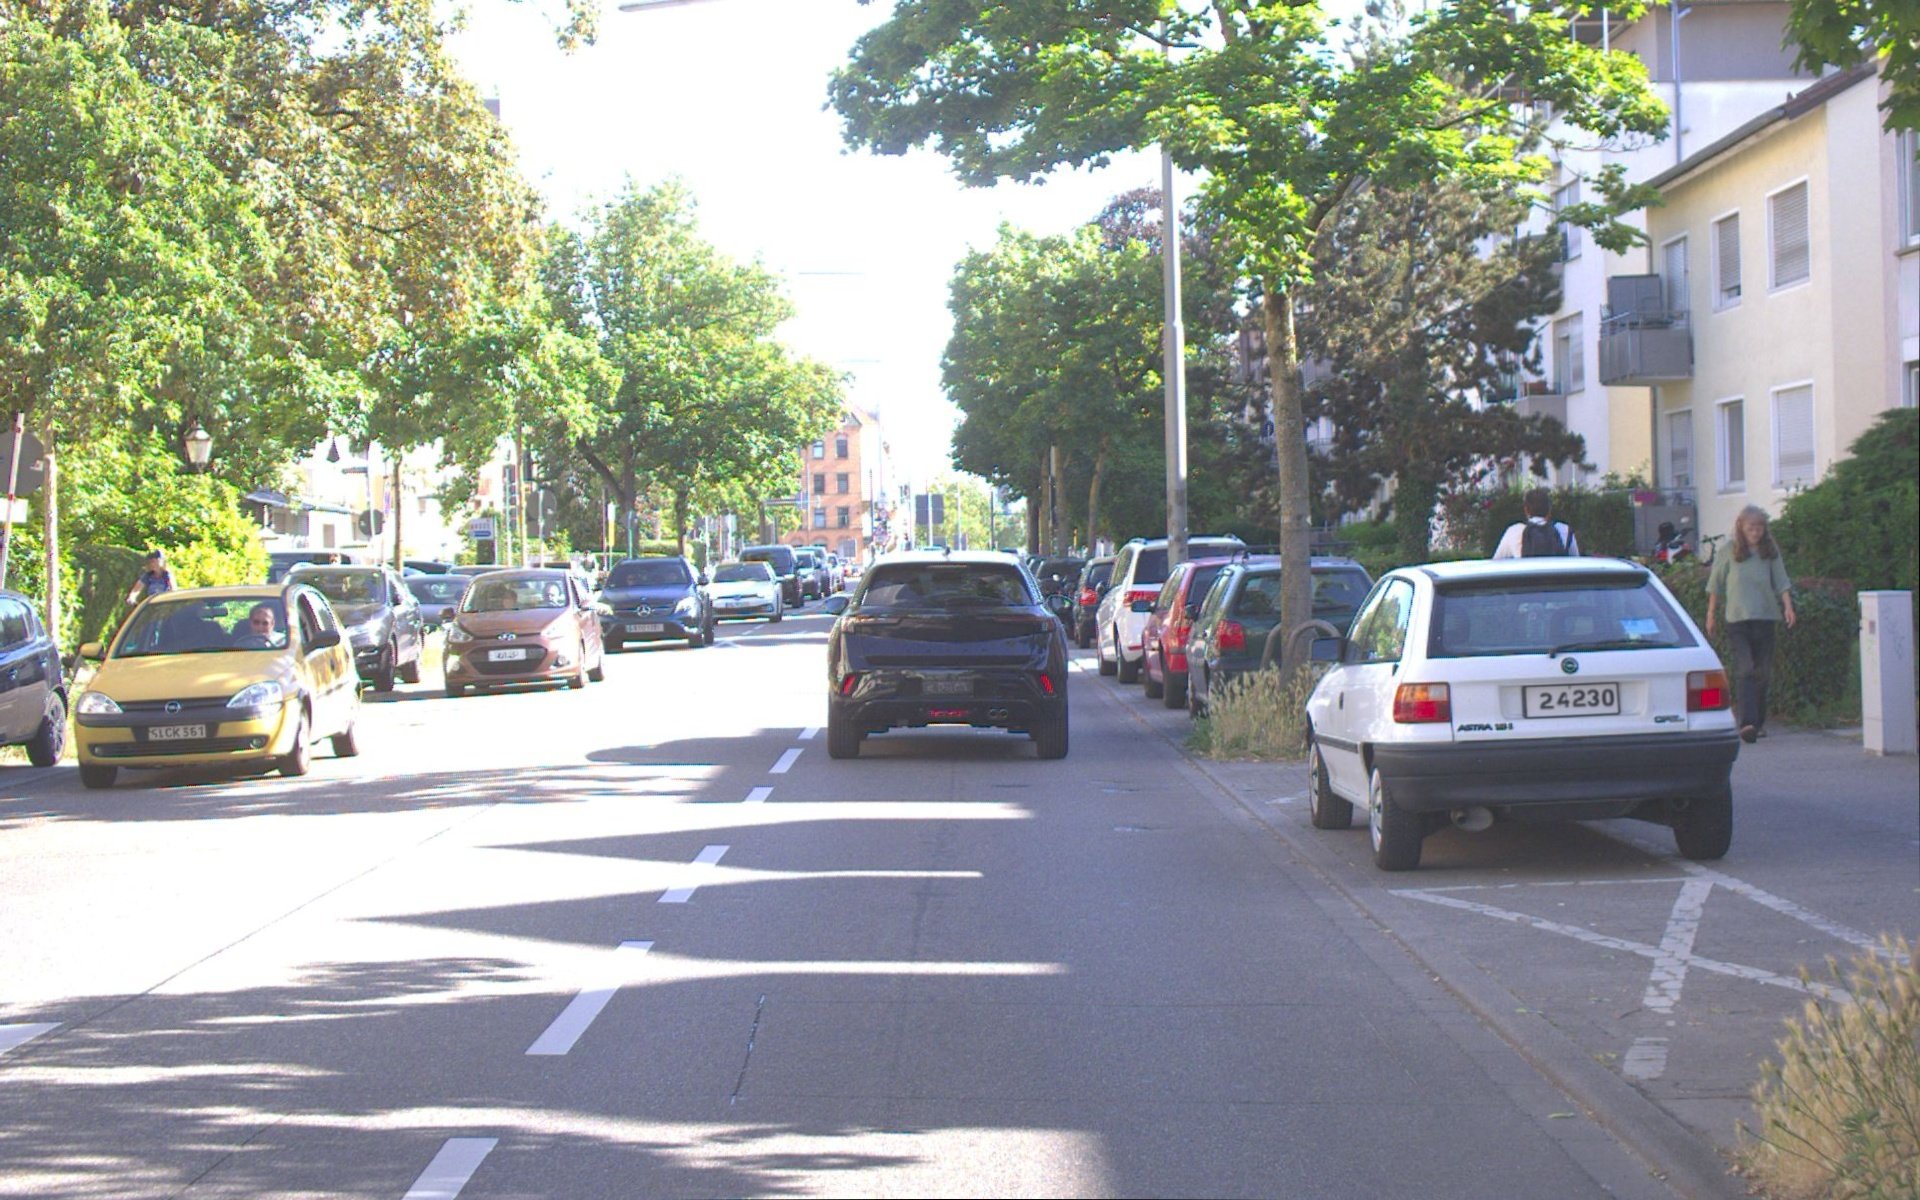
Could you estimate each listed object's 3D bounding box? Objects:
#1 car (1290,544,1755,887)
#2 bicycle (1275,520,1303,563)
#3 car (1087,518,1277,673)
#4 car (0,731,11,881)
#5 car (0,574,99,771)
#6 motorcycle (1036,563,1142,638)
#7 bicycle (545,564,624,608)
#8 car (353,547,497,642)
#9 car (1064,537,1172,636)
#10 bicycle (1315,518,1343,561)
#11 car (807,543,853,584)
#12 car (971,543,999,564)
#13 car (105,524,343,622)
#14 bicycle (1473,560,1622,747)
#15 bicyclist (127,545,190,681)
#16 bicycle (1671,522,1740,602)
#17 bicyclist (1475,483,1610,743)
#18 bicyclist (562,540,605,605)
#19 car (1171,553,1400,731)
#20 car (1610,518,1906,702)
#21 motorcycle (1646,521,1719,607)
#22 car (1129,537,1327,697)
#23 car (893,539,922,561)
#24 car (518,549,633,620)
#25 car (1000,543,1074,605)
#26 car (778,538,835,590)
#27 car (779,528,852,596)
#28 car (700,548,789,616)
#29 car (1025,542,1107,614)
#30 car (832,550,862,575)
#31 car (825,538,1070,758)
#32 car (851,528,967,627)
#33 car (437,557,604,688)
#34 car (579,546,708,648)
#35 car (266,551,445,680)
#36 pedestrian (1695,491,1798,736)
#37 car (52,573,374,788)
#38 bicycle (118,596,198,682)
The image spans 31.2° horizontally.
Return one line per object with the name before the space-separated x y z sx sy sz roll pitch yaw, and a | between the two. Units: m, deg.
car | 2.650 0.475 17.028 1.649 1.398 3.970 -3 1 1
bicycle | 10.346 -1.835 108.087 0.623 1.283 1.842 -4 1 0
car | 2.559 -0.090 40.527 1.768 1.653 4.341 -2 1 -2
car | -5.341 0.644 14.146 1.655 1.512 4.076 -4 1 0
car | -8.053 0.555 26.778 1.601 1.472 3.931 0 1 2
motorcycle | 2.263 0.016 60.644 0.697 1.267 2.432 -3 1 -27
bicycle | -10.777 -0.418 98.734 2.185 1.188 0.449 -2 1 -23
car | -8.386 -0.113 54.143 1.636 1.412 4.090 1 1 0
car | 2.543 -0.246 56.092 1.620 1.494 3.649 -2 1 1
bicycle | 11.539 -1.887 107.560 0.591 1.283 1.689 -4 1 0
car | -5.686 -1.619 150.662 1.806 1.642 4.673 -4 1 -1
car | 1.847 -3.456 255.138 1.993 1.514 4.000 1 1 2
car | -14.718 -0.559 68.774 4.314 1.872 1.880 -1 1 -25
bicycle | 4.168 0.356 24.494 0.698 1.242 1.822 -2 1 0
bicyclist | -10.423 0.162 44.712 0.608 1.748 0.691 -1 1 0
bicycle | 12.652 -0.653 58.405 0.598 1.299 2.426 -2 1 0
bicyclist | 4.153 0.083 24.572 0.724 1.787 1.016 -2 1 0
bicyclist | -10.816 -0.784 98.745 1.051 1.818 0.661 -2 1 -22
car | 2.696 0.308 29.142 1.532 1.351 3.718 -2 1 0
car | 6.651 0.047 28.998 1.532 1.351 3.718 -4 1 0
motorcycle | 11.861 -0.601 56.524 0.636 1.371 2.426 -2 1 0
car | 2.587 0.127 33.881 1.531 1.444 3.718 -2 1 -1
car | -3.446 -3.298 226.840 1.771 1.447 3.886 -1 1 -2
car | -7.844 -0.342 70.505 1.833 1.384 4.802 0 1 0
car | 1.911 -0.663 84.153 1.692 1.423 4.147 -2 1 3
car | -5.491 -1.301 123.379 1.815 1.737 4.493 -3 1 -1
car | -4.437 -1.183 106.209 2.016 1.945 5.179 -3 1 -1
car | -4.959 -0.434 79.537 1.733 1.407 4.192 -4 1 0
car | 2.206 -0.493 72.381 1.586 1.391 4.454 -3 1 1
car | -7.578 -2.540 229.875 1.791 1.611 4.000 -1 1 1
car | -0.097 0.316 26.293 1.745 1.568 3.558 0 1 0
car | -0.836 -0.406 58.427 1.830 1.573 3.839 -2 1 1
car | -5.340 0.241 42.137 1.581 1.446 3.745 -3 1 -1
car | -5.531 -0.091 60.485 1.836 1.608 4.401 -4 1 -1
car | -7.828 0.160 44.824 1.624 1.583 4.348 0 1 -1
pedestrian | 5.468 0.089 23.921 0.538 1.671 0.493 -2 1 0
car | -5.583 0.554 26.102 1.634 1.398 3.736 -3 1 -1
bicycle | -10.427 0.497 44.749 0.608 1.069 1.743 -1 1 0
